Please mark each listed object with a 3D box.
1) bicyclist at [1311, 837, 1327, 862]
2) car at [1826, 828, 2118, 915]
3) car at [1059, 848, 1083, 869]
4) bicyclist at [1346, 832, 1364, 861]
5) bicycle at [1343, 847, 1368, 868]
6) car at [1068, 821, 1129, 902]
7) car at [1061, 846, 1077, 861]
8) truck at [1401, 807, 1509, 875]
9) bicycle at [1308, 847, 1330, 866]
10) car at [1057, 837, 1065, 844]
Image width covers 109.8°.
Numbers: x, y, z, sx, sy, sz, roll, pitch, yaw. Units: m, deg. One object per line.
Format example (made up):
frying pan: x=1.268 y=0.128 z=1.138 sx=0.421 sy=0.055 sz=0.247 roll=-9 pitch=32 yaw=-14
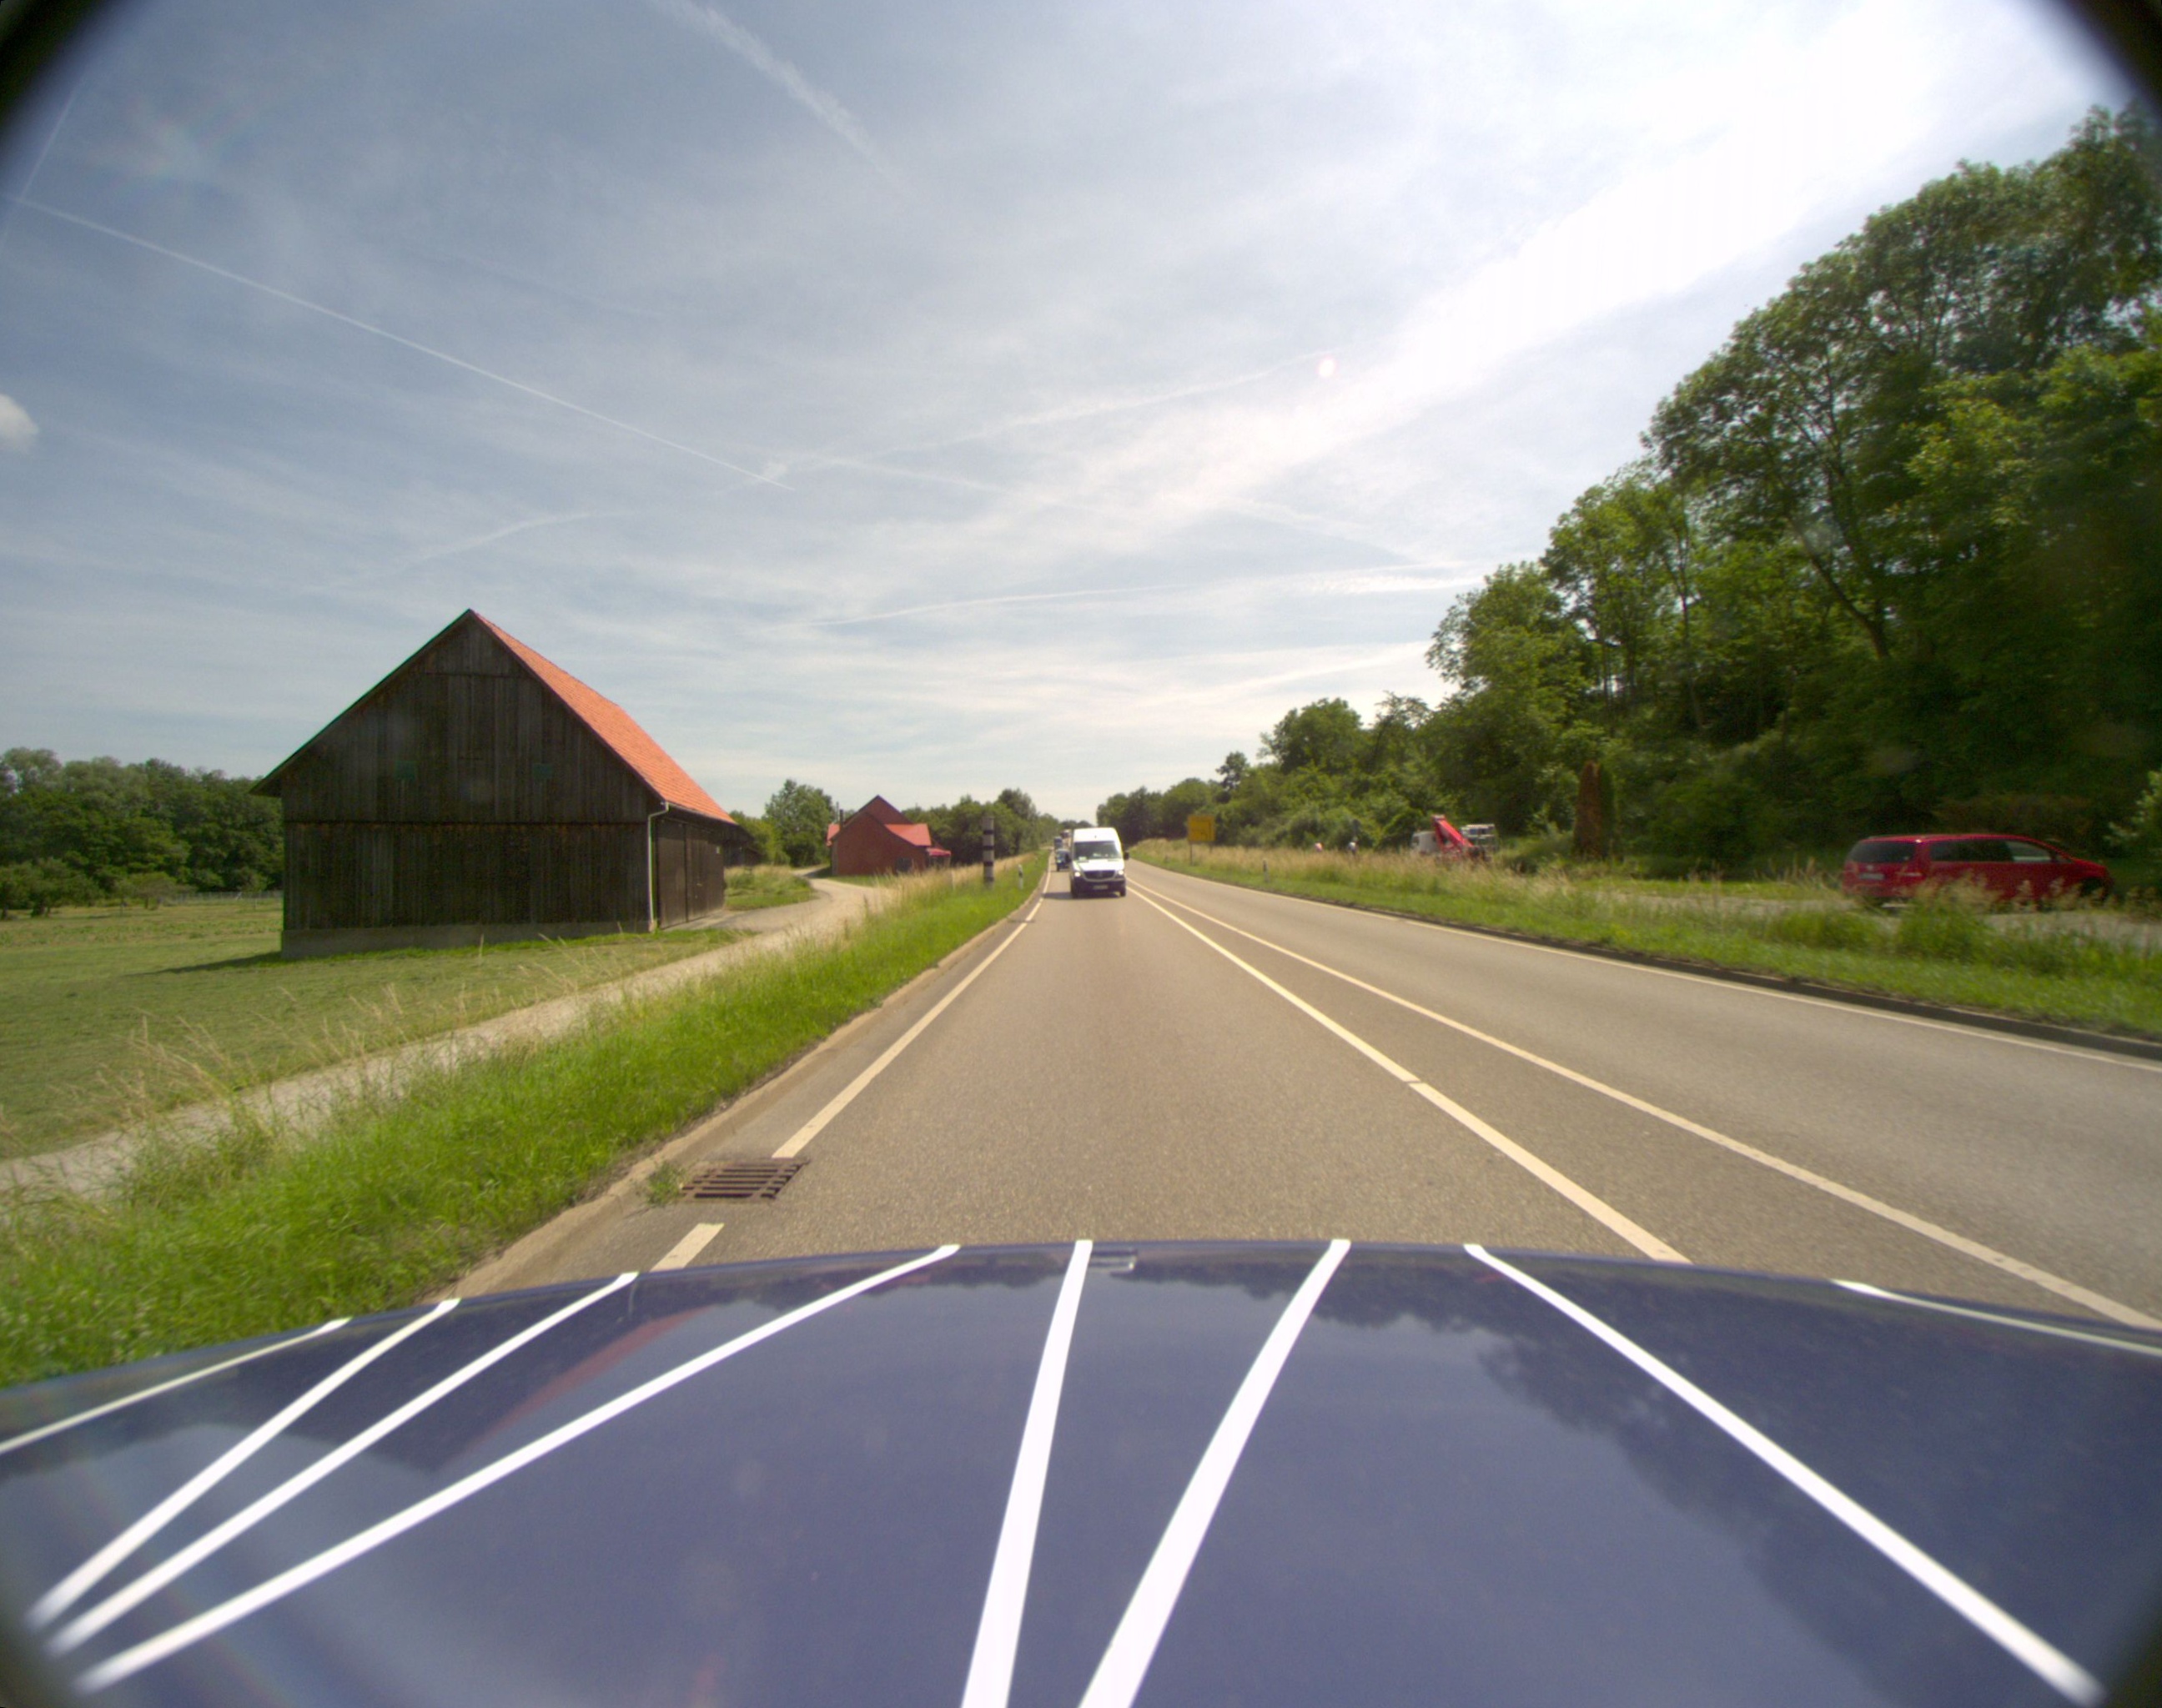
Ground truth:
bicyclist: x=15.632 y=-0.288 z=49.901 sx=0.750 sy=1.586 sz=0.936 roll=-3 pitch=1 yaw=1
car: x=18.941 y=0.350 z=16.308 sx=4.037 sy=1.609 sz=1.833 roll=-2 pitch=1 yaw=2
car: x=-0.808 y=0.439 z=64.413 sx=1.848 sy=1.692 sz=4.244 roll=-1 pitch=-1 yaw=1
bicyclist: x=16.370 y=-0.432 z=45.425 sx=0.750 sy=1.705 sz=0.936 roll=-3 pitch=1 yaw=3
bicycle: x=16.401 y=0.175 z=45.448 sx=0.750 sy=1.174 sz=2.105 roll=-3 pitch=1 yaw=3
car: x=0.625 y=0.221 z=28.417 sx=1.960 sy=2.656 sz=5.680 roll=-2 pitch=1 yaw=1
car: x=-1.385 y=-0.112 z=90.141 sx=1.848 sy=1.692 sz=4.241 roll=-1 pitch=2 yaw=0
truck: x=18.118 y=-0.637 z=37.292 sx=2.031 sy=2.946 sz=6.773 roll=-3 pitch=1 yaw=2
bicycle: x=15.641 y=0.144 z=49.957 sx=0.750 sy=1.205 sz=2.104 roll=-3 pitch=1 yaw=1
car: x=-6.025 y=-4.044 z=230.869 sx=1.998 sy=2.166 sz=4.000 roll=-2 pitch=0 yaw=1
